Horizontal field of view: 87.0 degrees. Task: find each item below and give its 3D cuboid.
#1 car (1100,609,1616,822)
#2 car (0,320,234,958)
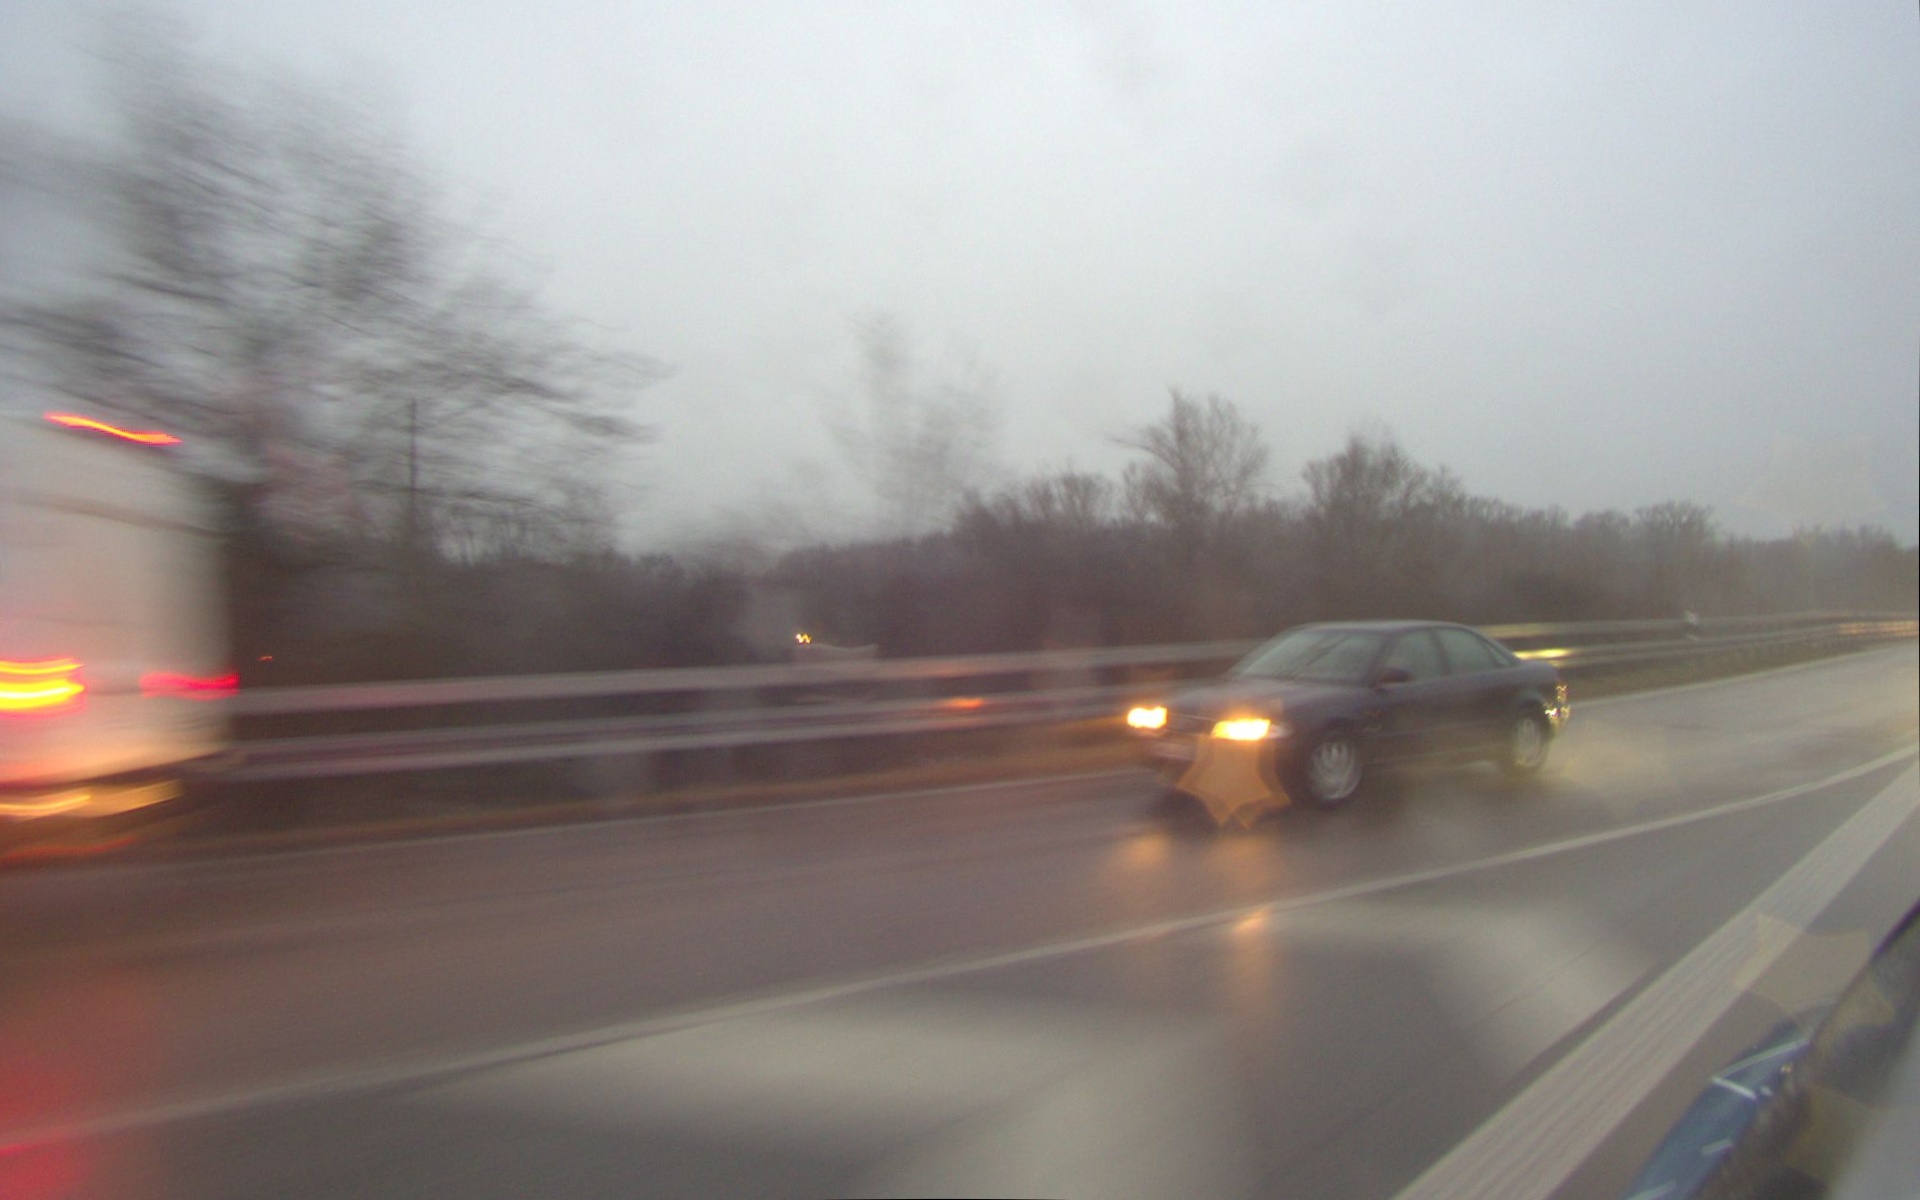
[{"bbox_3d":[3.492,0.830,8.755,4.288,1.433,1.744,0,-2,-27],"label":"car"},{"bbox_3d":[-7.743,0.258,5.065,6.256,3.005,2.293,-1,-3,-15],"label":"car"}]
